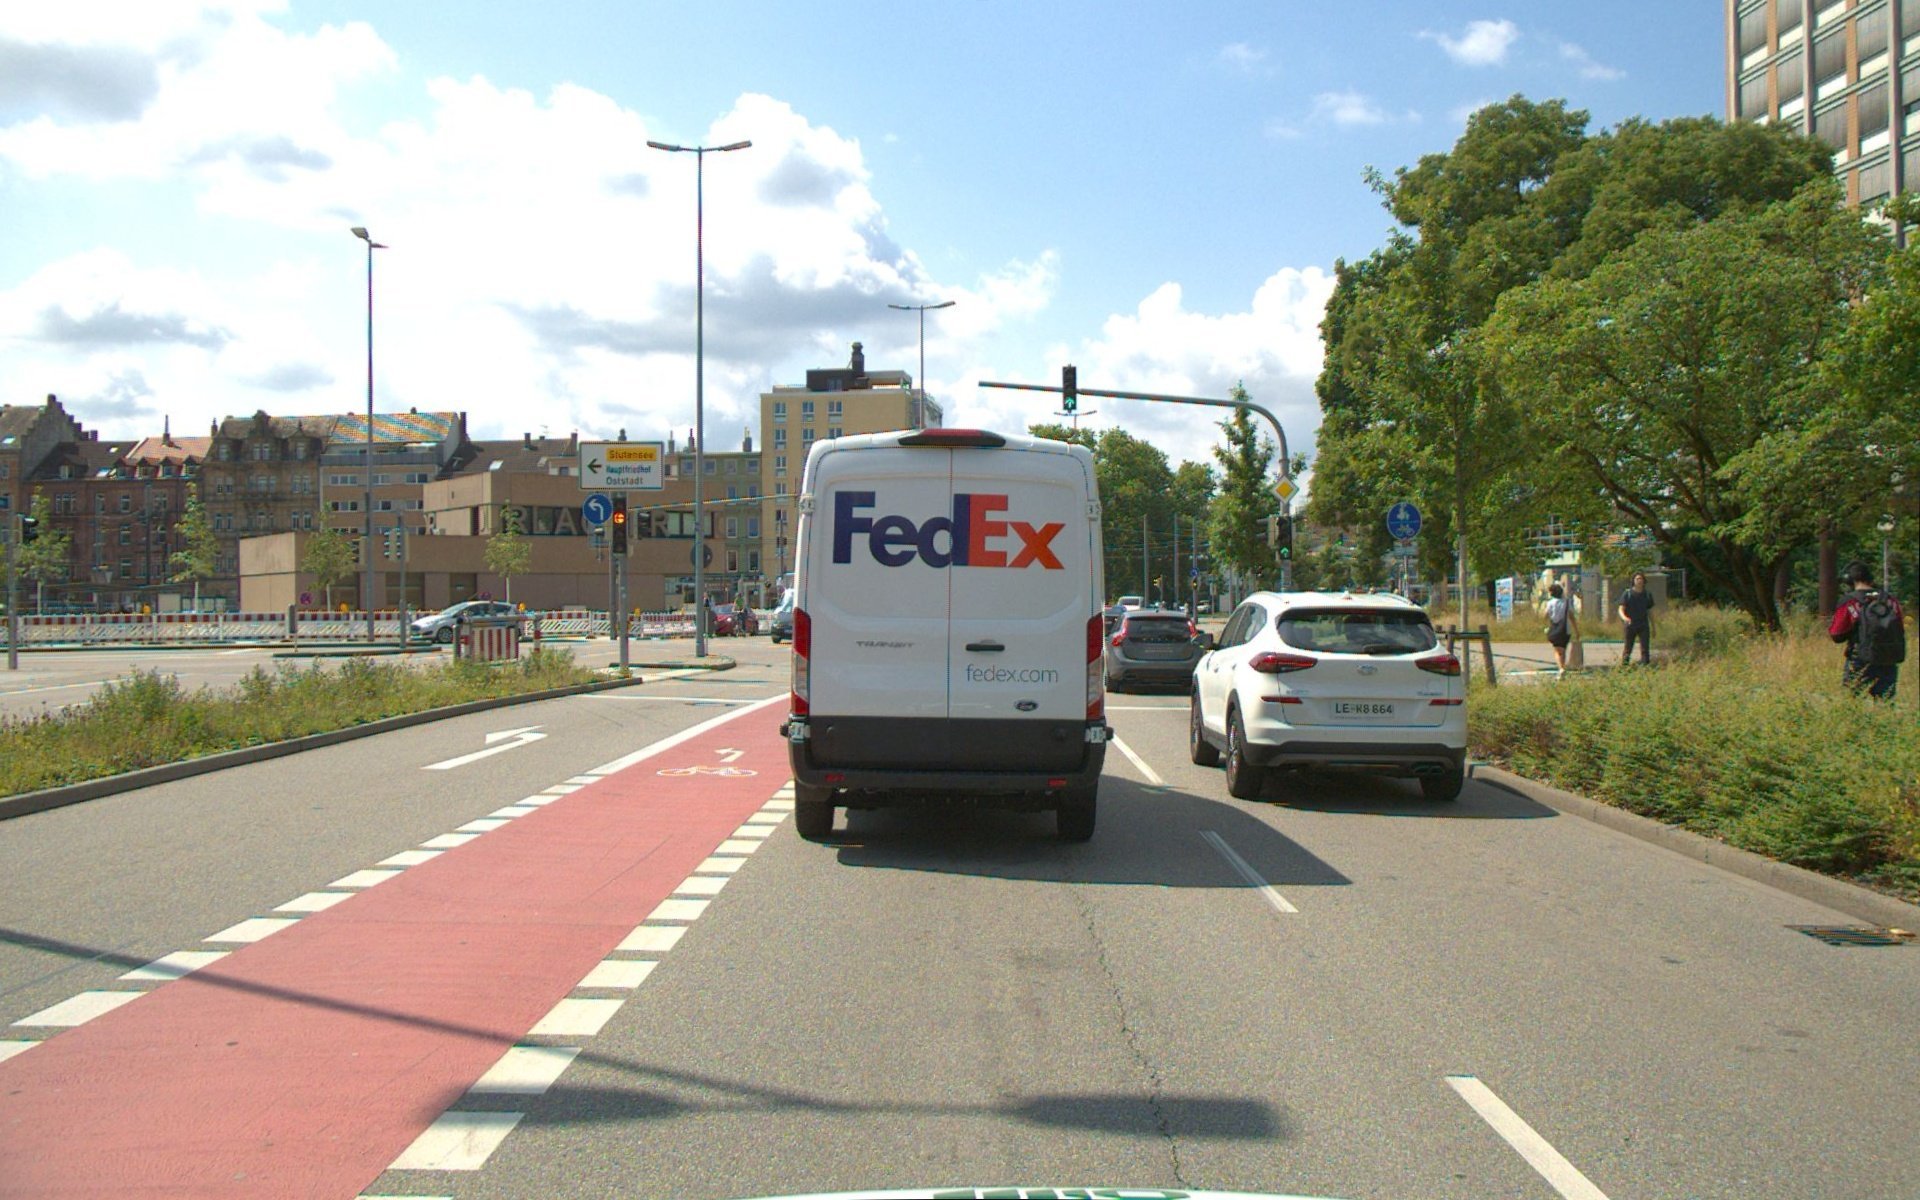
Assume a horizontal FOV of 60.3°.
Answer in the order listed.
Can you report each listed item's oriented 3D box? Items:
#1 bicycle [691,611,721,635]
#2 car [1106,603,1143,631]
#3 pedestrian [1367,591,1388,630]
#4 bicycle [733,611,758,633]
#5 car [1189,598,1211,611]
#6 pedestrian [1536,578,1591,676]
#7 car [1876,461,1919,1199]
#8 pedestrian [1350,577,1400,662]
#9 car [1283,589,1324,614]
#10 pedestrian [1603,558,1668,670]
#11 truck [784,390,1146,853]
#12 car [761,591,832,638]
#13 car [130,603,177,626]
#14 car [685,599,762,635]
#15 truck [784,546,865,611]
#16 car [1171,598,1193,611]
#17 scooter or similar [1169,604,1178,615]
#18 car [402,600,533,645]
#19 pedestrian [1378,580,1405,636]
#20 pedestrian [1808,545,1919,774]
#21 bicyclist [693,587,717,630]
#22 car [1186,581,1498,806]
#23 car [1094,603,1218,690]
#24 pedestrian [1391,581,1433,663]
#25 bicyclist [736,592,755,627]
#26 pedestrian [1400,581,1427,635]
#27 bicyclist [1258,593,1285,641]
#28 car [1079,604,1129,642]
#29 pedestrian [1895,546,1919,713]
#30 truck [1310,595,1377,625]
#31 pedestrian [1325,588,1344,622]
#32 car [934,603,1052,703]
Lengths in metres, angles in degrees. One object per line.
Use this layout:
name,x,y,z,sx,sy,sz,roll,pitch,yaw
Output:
bicycle,-9.994,0.890,65.055,0.760,0.905,2.109,-1,0,2
car,12.105,1.253,121.552,1.951,2.049,4.125,0,-1,17
pedestrian,20.825,0.530,82.434,0.740,1.853,0.780,-4,-1,2
bicycle,-8.955,0.918,69.125,0.555,0.905,1.745,-1,0,10
car,30.901,0.647,212.798,1.952,1.601,4.178,0,-1,21
pedestrian,10.251,0.456,28.108,0.653,1.624,0.647,-2,0,-1
car,2.938,0.607,1.457,1.758,1.753,4.447,1,0,0
pedestrian,9.085,0.426,36.215,0.735,1.808,0.880,-2,0,-6
car,23.012,0.082,110.708,1.843,1.670,3.955,-1,0,24
pedestrian,11.025,0.228,26.991,0.734,1.780,0.667,-2,0,0
truck,-0.003,0.143,12.618,2.093,2.686,5.916,1,0,-1
car,-5.897,0.494,60.060,1.841,1.652,4.157,0,0,4
car,-87.092,1.536,178.640,4.020,2.384,2.001,1,-1,6
car,-10.342,0.742,72.665,1.951,1.512,3.908,-1,0,15
truck,-6.924,-1.064,85.463,1.951,3.121,7.335,0,-1,14
car,28.733,0.634,213.984,1.952,1.601,4.178,0,-1,21
scooter or similar,21.126,0.932,163.819,0.372,1.135,1.088,0,-1,42
car,-17.369,0.791,58.385,3.981,1.534,1.970,1,-1,-41
pedestrian,14.407,0.270,55.192,0.734,1.834,0.610,-2,0,6
pedestrian,7.437,0.458,13.388,0.653,1.780,0.848,-2,0,-1
bicyclist,-10.005,0.339,65.024,0.760,1.647,0.843,-1,0,2
car,3.155,0.696,14.537,1.842,1.670,4.233,-1,0,1
car,3.499,0.807,30.213,1.875,1.445,3.919,-1,0,1
pedestrian,9.948,0.476,36.416,0.653,1.777,0.608,-2,0,-6
bicyclist,-8.964,0.393,69.110,0.553,1.487,0.837,-1,0,10
pedestrian,15.199,0.273,55.405,0.734,1.783,0.610,-2,0,6
bicyclist,10.906,0.594,57.889,0.810,1.629,0.580,-3,-2,6
car,6.255,0.979,71.367,1.841,1.532,4.159,0,0,9
pedestrian,10.545,0.304,17.575,0.653,1.780,0.878,-2,0,-1
truck,39.073,0.967,168.222,2.843,2.902,8.740,-1,0,42
pedestrian,18.133,0.233,80.102,0.740,1.617,0.761,1,-1,2
car,0.573,0.781,26.159,1.705,1.416,4.181,-1,0,3
